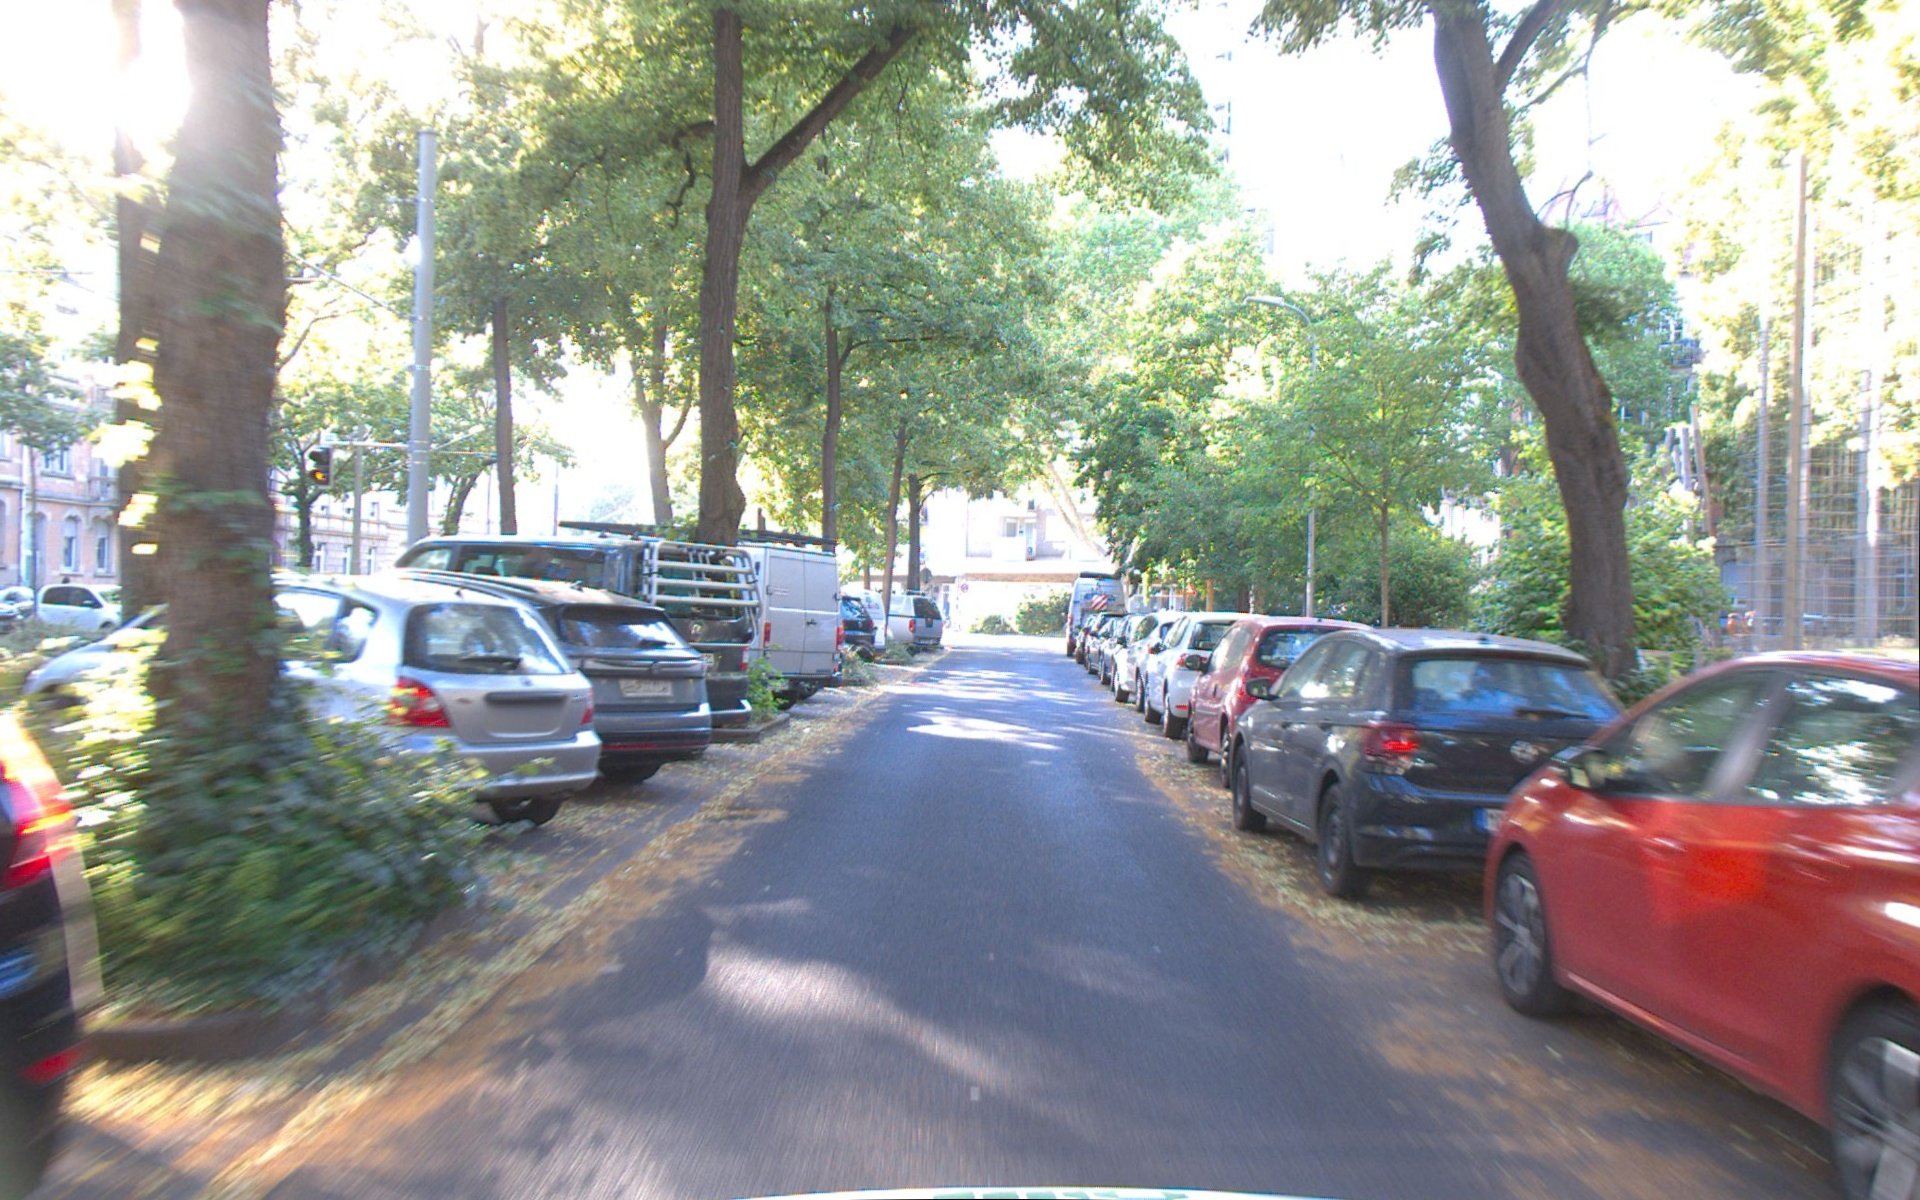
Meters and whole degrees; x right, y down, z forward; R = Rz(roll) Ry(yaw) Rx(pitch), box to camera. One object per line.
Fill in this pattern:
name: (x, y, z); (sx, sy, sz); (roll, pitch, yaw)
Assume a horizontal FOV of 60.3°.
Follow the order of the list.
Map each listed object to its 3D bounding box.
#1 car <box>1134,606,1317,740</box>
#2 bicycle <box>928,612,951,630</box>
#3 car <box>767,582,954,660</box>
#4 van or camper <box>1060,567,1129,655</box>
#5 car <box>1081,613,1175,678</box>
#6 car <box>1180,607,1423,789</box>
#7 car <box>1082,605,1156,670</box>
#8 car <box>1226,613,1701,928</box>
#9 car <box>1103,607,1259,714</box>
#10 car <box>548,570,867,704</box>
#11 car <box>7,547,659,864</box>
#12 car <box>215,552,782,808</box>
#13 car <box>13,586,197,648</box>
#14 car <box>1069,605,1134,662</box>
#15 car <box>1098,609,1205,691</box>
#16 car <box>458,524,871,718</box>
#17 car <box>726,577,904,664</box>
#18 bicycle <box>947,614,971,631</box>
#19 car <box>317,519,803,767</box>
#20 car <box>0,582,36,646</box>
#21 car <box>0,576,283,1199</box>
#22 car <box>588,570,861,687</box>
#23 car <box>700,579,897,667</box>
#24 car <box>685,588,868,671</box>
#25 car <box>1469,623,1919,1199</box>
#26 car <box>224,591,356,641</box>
car: (3.227, 0.840, 20.807); (1.646, 1.479, 4.076); (1, 0, 0)
bicycle: (-1.214, 1.224, 96.227); (0.629, 1.040, 2.074); (1, 0, -21)
car: (-2.821, 0.582, 46.585); (4.893, 1.812, 1.984); (4, 0, 29)
van or camper: (4.580, 0.372, 57.112); (2.041, 2.811, 5.846); (1, 0, 2)
car: (3.716, 0.984, 37.110); (1.646, 1.305, 4.287); (1, 0, 0)
car: (3.089, 0.830, 15.601); (1.558, 1.479, 3.555); (1, 0, 0)
car: (4.093, 0.939, 43.131); (1.645, 1.552, 4.288); (1, 0, 2)
car: (2.782, 0.851, 10.067); (1.638, 1.479, 3.948); (1, 0, -1)
car: (3.350, 0.879, 25.782); (1.647, 1.479, 4.073); (1, 0, -3)
car: (-3.861, 0.539, 25.295); (4.417, 1.644, 1.933); (4, 0, 25)
car: (-4.080, 0.563, 10.604); (4.008, 1.514, 1.779); (4, 0, 32)
car: (-3.826, 0.556, 13.435); (4.478, 1.567, 1.928); (4, 0, 34)
car: (-19.923, 0.381, 38.558); (3.905, 1.340, 1.594); (1, 0, 21)
car: (4.087, 0.947, 48.381); (1.645, 1.552, 4.490); (1, 0, 2)
car: (3.675, 0.919, 32.426); (1.645, 1.449, 4.660); (1, 0, 1)
car: (-4.089, 0.231, 22.549); (5.397, 2.174, 2.076); (4, 0, 31)
car: (-3.584, 0.494, 40.674); (4.080, 1.812, 1.876); (4, 0, 37)
bicycle: (-0.067, 1.291, 94.443); (0.537, 0.920, 1.716); (1, 0, -33)
car: (-3.990, 0.345, 16.199); (4.617, 1.976, 1.928); (4, 0, 34)
car: (-19.640, 0.230, 31.613); (4.111, 1.188, 1.497); (1, 0, 29)
car: (-3.617, 0.592, 4.050); (3.748, 1.464, 1.819); (4, 0, 35)
car: (-4.096, 0.478, 28.592); (4.423, 1.644, 1.850); (4, 0, 31)
car: (-3.672, 0.516, 37.451); (4.075, 1.673, 1.909); (4, 0, 33)
car: (-3.860, 0.618, 34.802); (3.356, 1.450, 1.829); (4, 0, 32)
car: (3.035, 0.852, 5.142); (1.638, 1.479, 3.948); (1, 0, -1)
car: (-20.281, 0.469, 50.069); (3.654, 1.405, 1.706); (1, 0, 27)
